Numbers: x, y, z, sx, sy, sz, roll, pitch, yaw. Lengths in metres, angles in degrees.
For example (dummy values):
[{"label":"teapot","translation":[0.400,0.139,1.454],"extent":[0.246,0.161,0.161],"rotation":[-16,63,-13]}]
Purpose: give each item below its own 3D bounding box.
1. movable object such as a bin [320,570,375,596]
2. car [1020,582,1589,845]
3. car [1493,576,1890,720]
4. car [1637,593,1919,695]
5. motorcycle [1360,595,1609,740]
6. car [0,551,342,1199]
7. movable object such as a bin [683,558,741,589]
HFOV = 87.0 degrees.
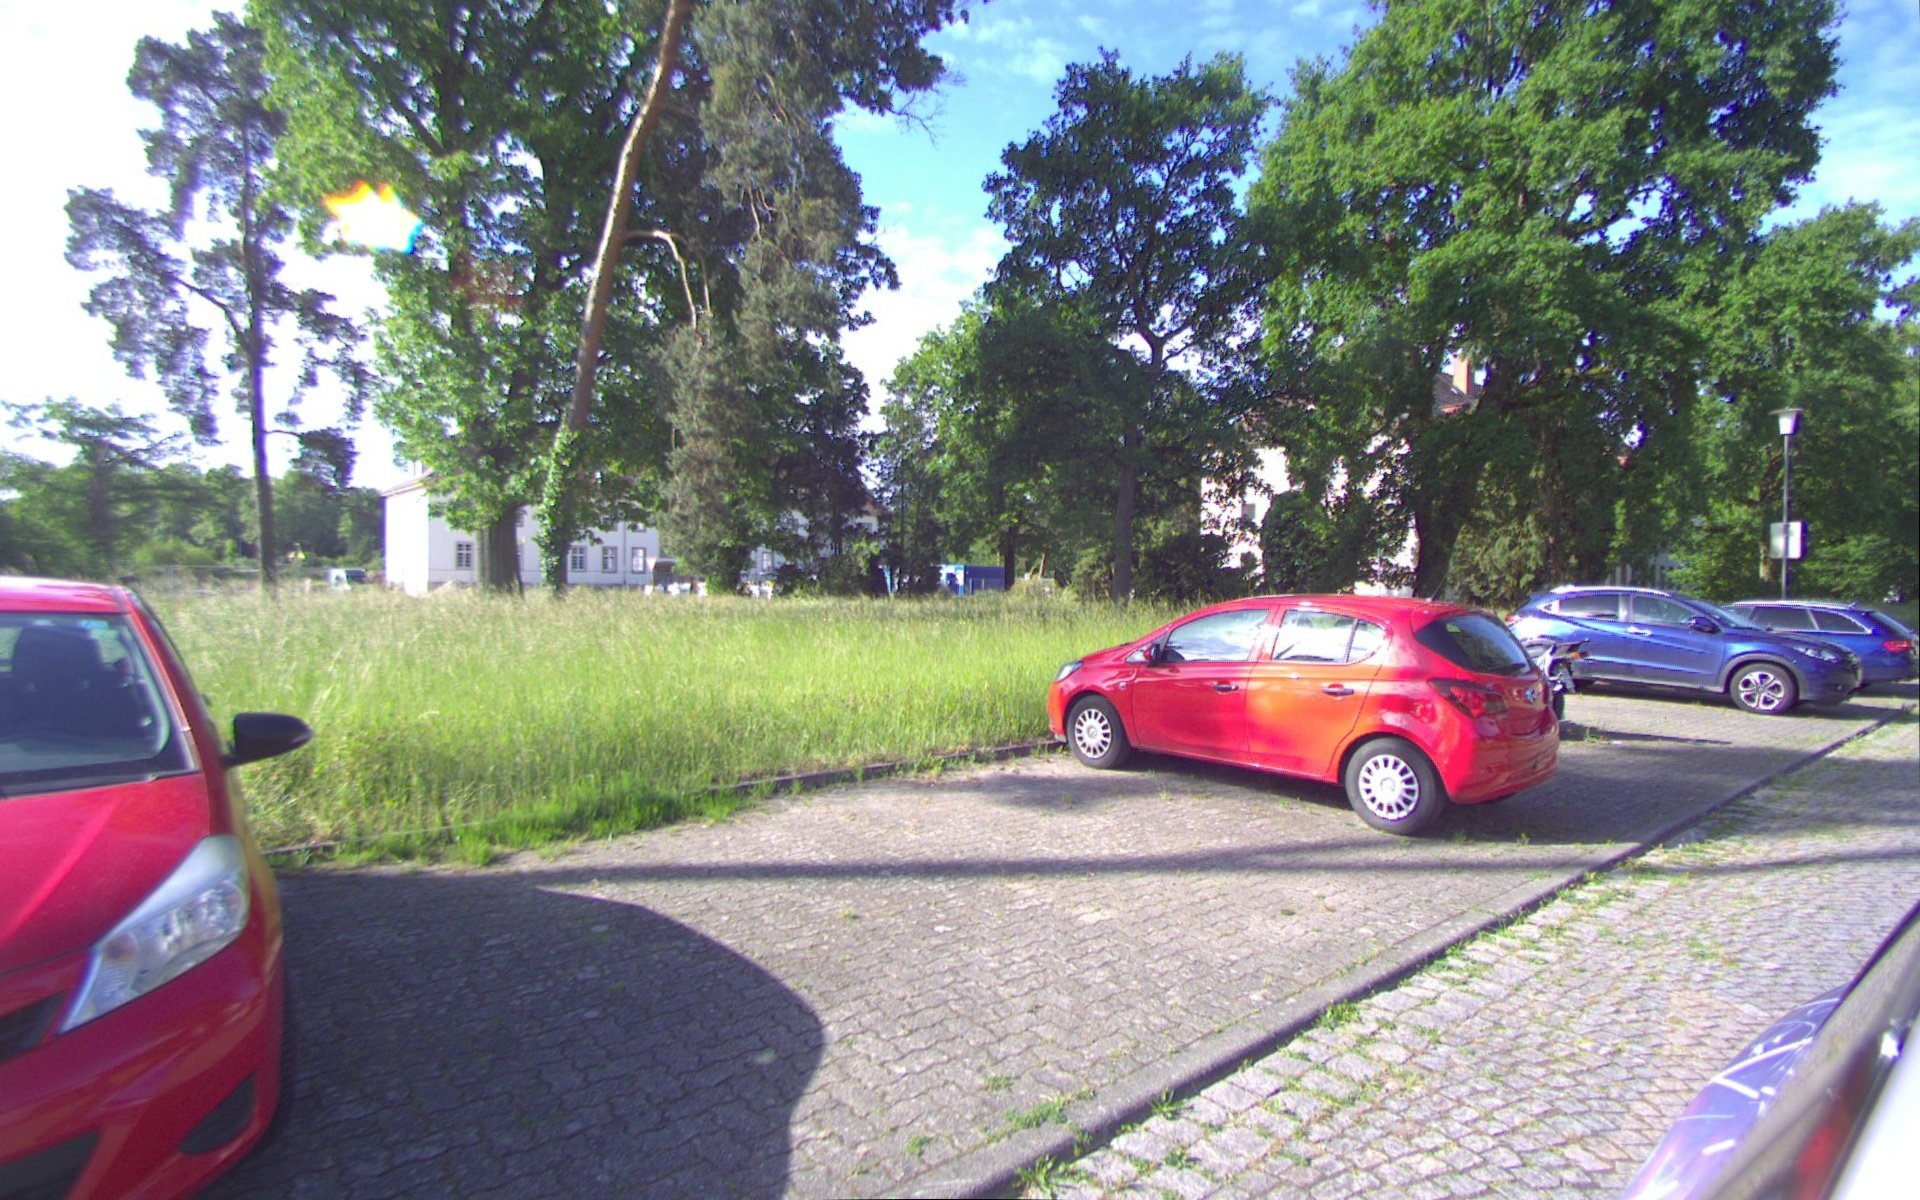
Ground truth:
[{"label":"movable object such as a bin","translation":[-49.620,-1.411,81.926],"extent":[5.712,2.039,2.093],"rotation":[2,1,40]},{"label":"car","translation":[2.390,0.626,7.868],"extent":[1.513,1.514,3.994],"rotation":[0,1,-40]},{"label":"car","translation":[10.150,0.536,14.343],"extent":[1.622,1.618,4.272],"rotation":[0,3,-40]},{"label":"car","translation":[13.907,0.650,17.086],"extent":[1.716,1.484,3.808],"rotation":[0,1,-39]},{"label":"motorcycle","translation":[5.606,0.648,10.964],"extent":[0.863,1.370,2.235],"rotation":[0,1,-38]},{"label":"car","translation":[-3.181,0.627,3.102],"extent":[1.673,1.558,3.834],"rotation":[0,2,-40]},{"label":"movable object such as a bin","translation":[-23.848,-2.551,97.496],"extent":[4.975,2.937,2.182],"rotation":[0,1,-34]}]
